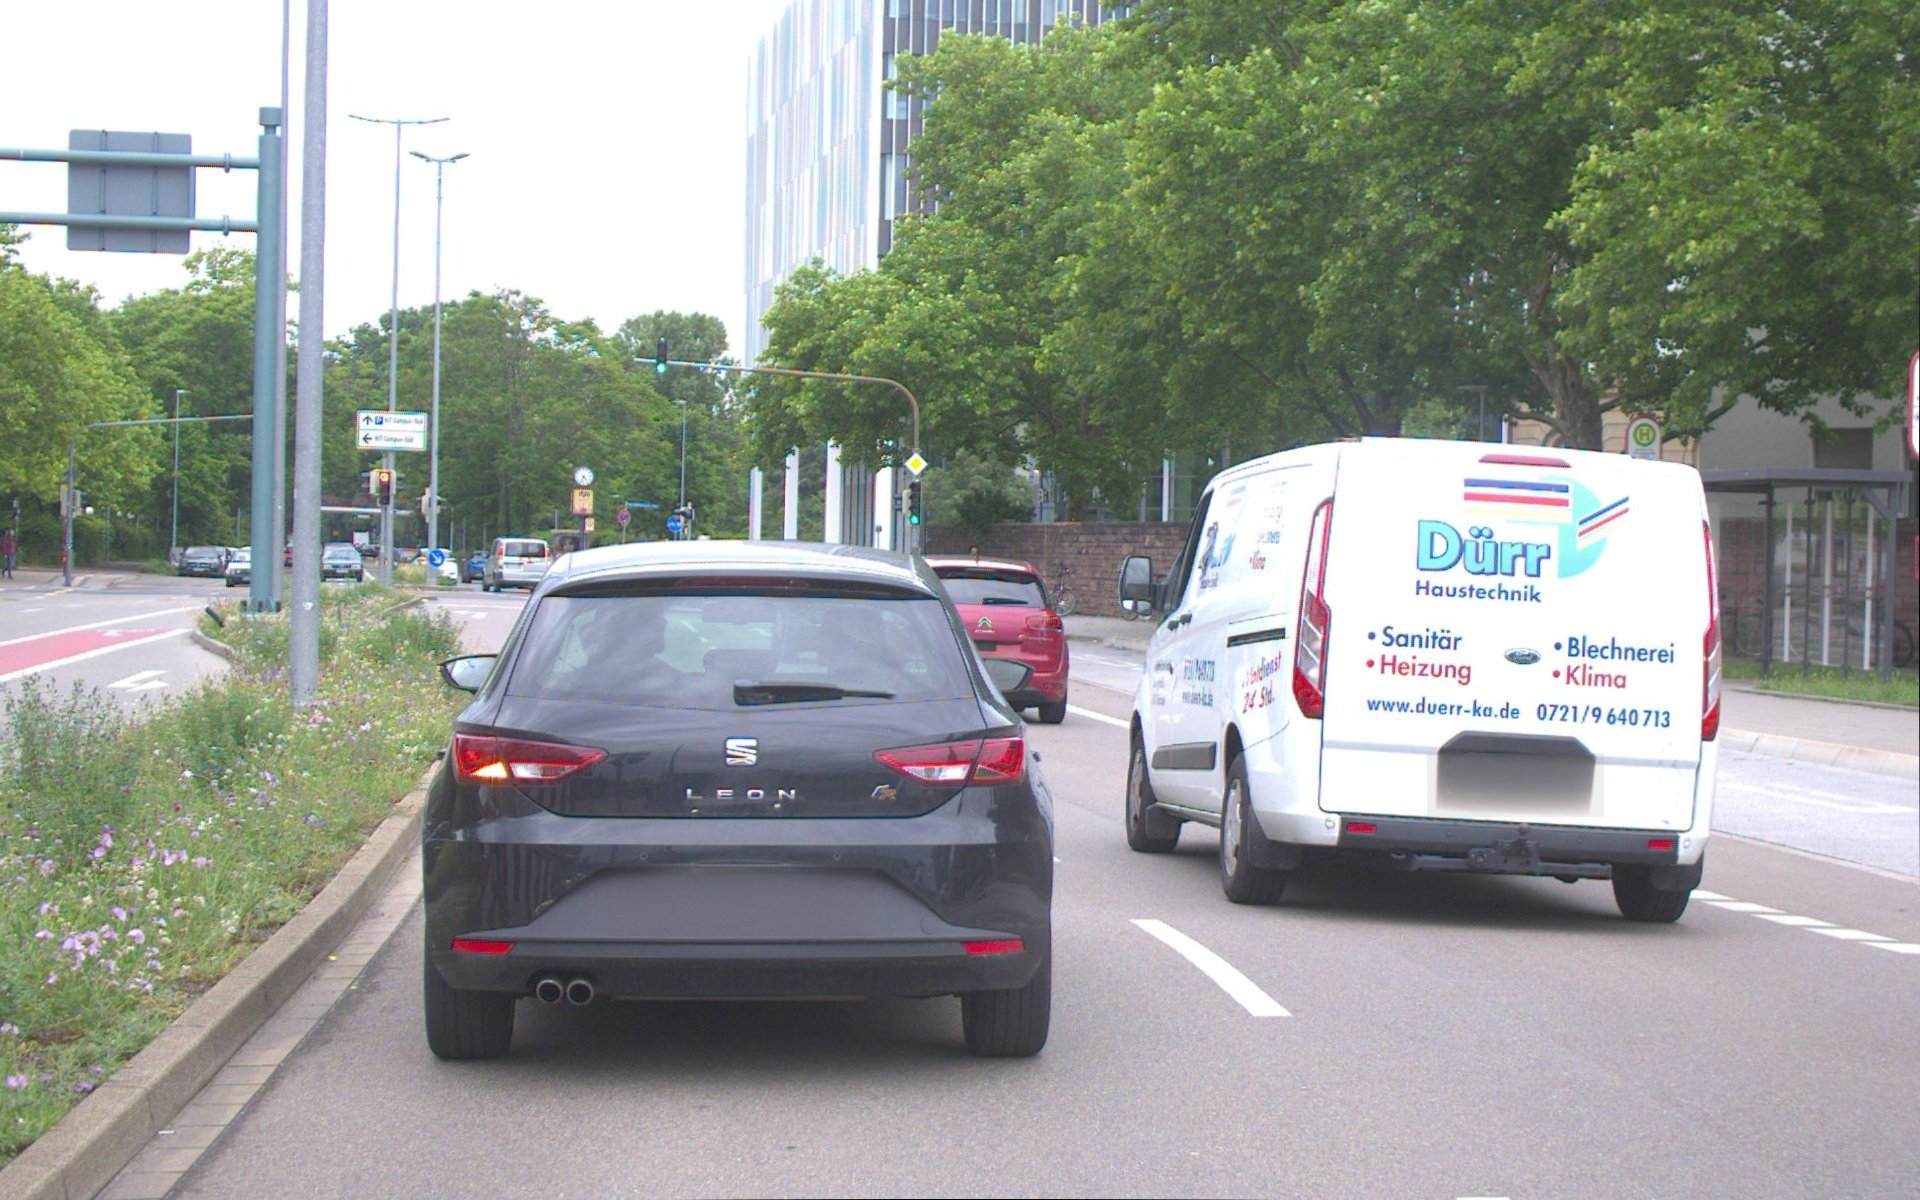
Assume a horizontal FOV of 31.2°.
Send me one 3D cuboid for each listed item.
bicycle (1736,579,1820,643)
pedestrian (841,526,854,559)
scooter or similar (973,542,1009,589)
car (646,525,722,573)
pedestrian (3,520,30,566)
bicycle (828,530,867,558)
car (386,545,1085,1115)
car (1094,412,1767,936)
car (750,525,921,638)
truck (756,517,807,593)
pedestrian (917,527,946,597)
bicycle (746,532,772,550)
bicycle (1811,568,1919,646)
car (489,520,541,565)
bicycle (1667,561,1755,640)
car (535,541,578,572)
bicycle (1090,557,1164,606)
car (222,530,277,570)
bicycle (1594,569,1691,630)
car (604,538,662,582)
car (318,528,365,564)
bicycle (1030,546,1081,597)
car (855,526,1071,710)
[{"bbox_3d":[12.669,0.156,53.291,0.415,0.939,1.526,-1,2,-24],"label":"bicycle"},{"bbox_3d":[-4.648,-2.390,141.940,0.472,1.357,0.445,0,2,4],"label":"pedestrian"},{"bbox_3d":[0.813,-0.910,89.998,0.432,1.175,1.702,0,2,18],"label":"scooter or similar"},{"bbox_3d":[-8.187,-1.524,101.744,1.898,1.349,3.884,0,2,-10],"label":"car"},{"bbox_3d":[-32.276,-1.949,117.599,0.874,1.580,0.544,0,2,-13],"label":"pedestrian"},{"bbox_3d":[-4.944,-2.483,151.167,1.773,1.207,0.569,-1,2,-40],"label":"bicycle"},{"bbox_3d":[-0.657,0.566,10.648,1.753,1.427,3.769,1,1,-3],"label":"car"},{"bbox_3d":[1.946,0.286,15.695,1.966,1.965,4.344,3,0,-6],"label":"car"},{"bbox_3d":[-2.011,-0.327,54.107,1.914,1.658,4.116,0,2,-13],"label":"car"},{"bbox_3d":[-5.390,-1.372,103.576,1.317,2.235,3.402,0,2,-7],"label":"truck"},{"bbox_3d":[-0.706,-0.944,85.596,0.556,1.733,0.456,2,2,45],"label":"pedestrian"},{"bbox_3d":[-10.518,-3.084,179.809,1.234,0.820,0.482,3,0,-28],"label":"bicycle"},{"bbox_3d":[13.430,0.093,51.067,0.596,1.100,1.655,-1,2,-26],"label":"bicycle"},{"bbox_3d":[-15.192,-1.984,117.568,1.695,1.498,4.011,0,2,-7],"label":"car"},{"bbox_3d":[12.013,0.002,55.025,0.499,1.217,1.627,-1,2,-24],"label":"bicycle"},{"bbox_3d":[-15.962,-1.730,135.863,1.504,1.189,3.164,0,2,-10],"label":"car"},{"bbox_3d":[3.769,-0.421,77.755,0.939,1.069,1.970,-1,2,-21],"label":"bicycle"},{"bbox_3d":[-25.689,-1.830,124.353,1.607,1.376,3.809,0,2,-6],"label":"car"},{"bbox_3d":[11.247,-0.010,56.686,0.653,0.948,1.771,-1,2,-24],"label":"bicycle"},{"bbox_3d":[-10.877,-1.341,114.136,1.615,1.349,4.001,0,2,-10],"label":"car"},{"bbox_3d":[-25.643,-2.235,142.413,1.763,1.455,4.793,-1,1,-12],"label":"car"},{"bbox_3d":[2.305,-0.704,83.031,0.803,1.170,1.955,-2,2,-11],"label":"bicycle"},{"bbox_3d":[-0.031,0.131,34.381,1.949,1.618,3.749,3,2,-2],"label":"car"}]
